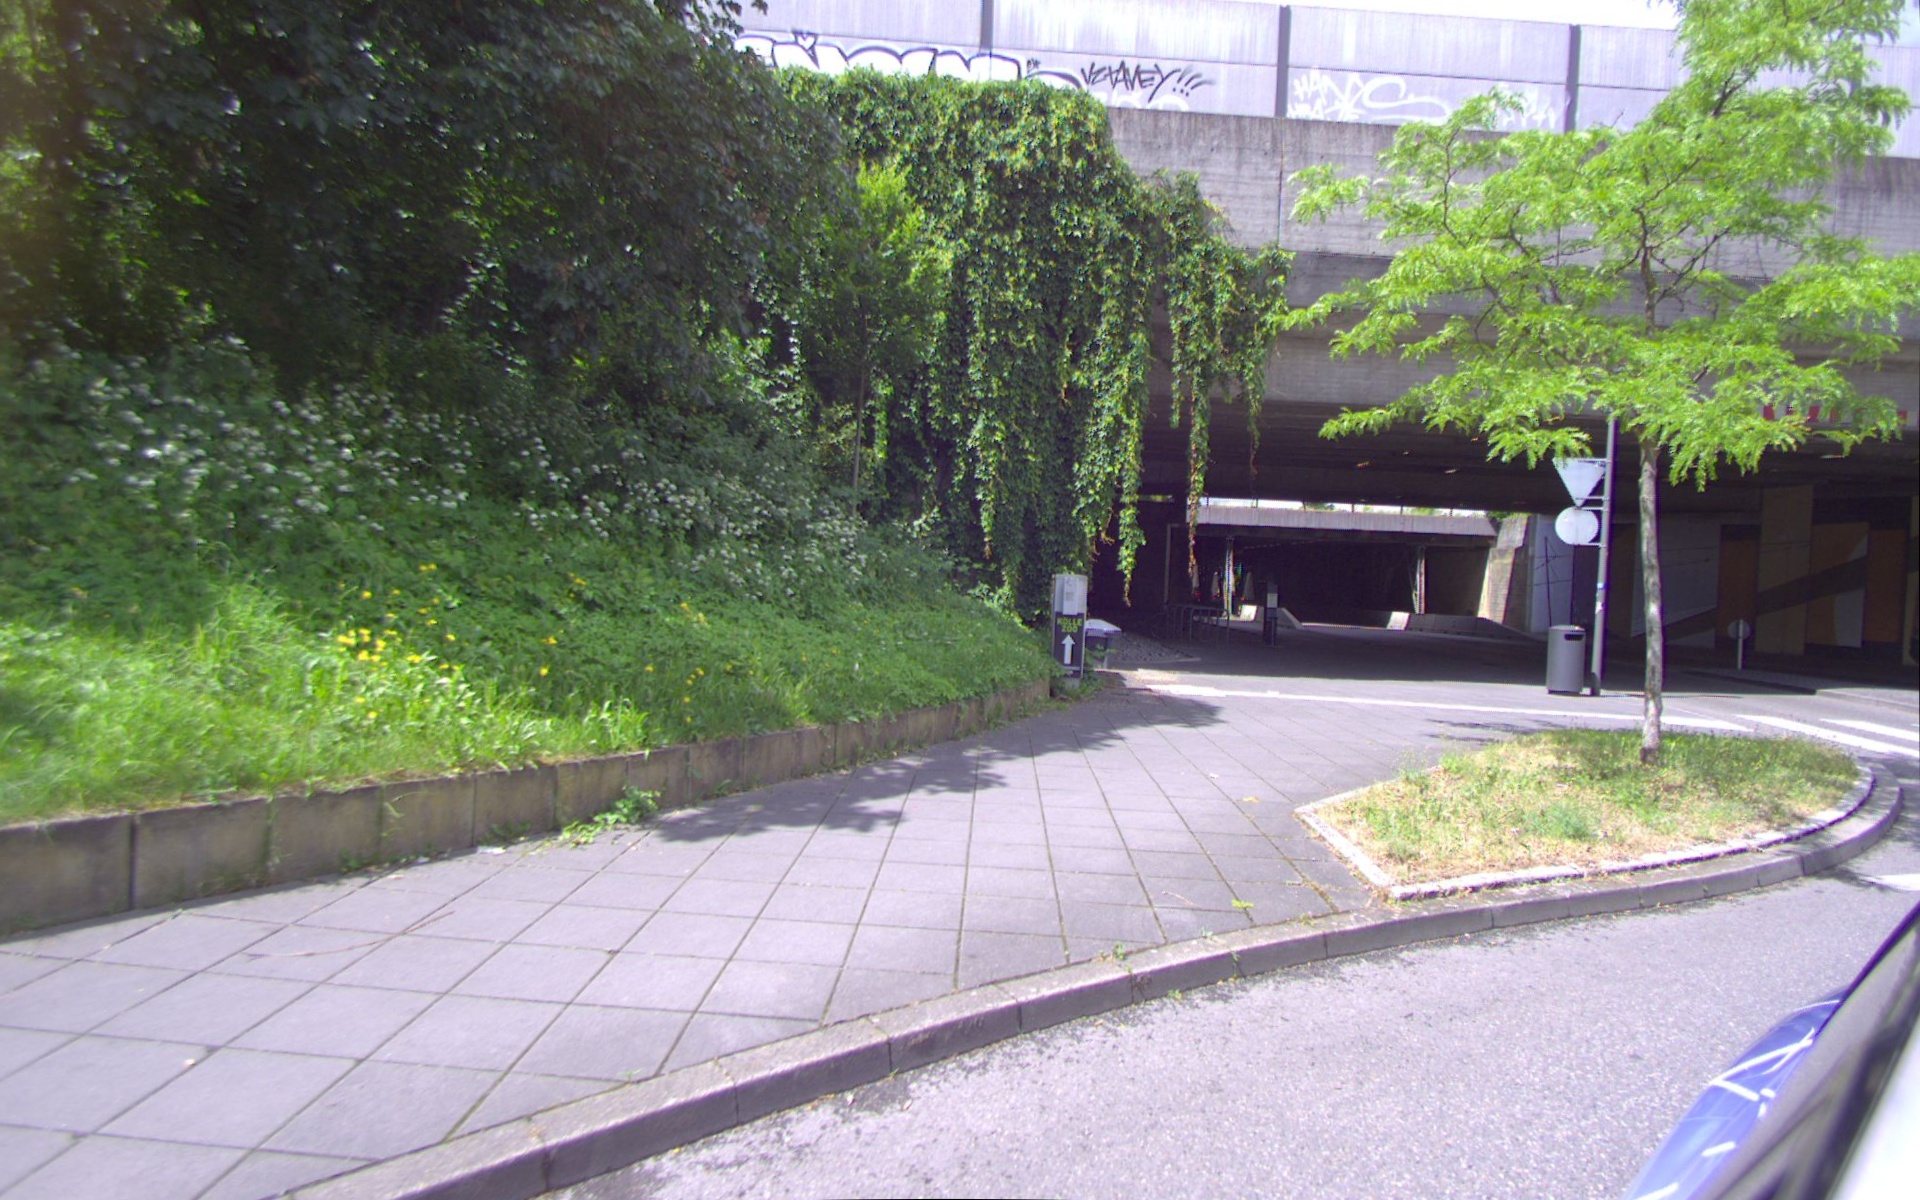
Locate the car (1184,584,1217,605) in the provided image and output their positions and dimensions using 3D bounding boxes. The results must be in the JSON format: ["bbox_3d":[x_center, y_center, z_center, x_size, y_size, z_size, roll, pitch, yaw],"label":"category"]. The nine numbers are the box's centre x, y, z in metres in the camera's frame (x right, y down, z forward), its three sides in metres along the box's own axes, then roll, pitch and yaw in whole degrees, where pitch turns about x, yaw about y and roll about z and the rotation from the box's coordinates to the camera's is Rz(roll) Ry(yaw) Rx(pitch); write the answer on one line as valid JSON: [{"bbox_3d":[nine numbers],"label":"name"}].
[{"bbox_3d":[20.496,-0.483,86.478,1.797,1.674,4.214,3,1,1],"label":"car"}]

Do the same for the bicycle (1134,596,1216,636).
[{"bbox_3d":[5.456,0.401,25.713,1.915,0.915,0.507,3,1,1],"label":"bicycle"}]

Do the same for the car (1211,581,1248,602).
[{"bbox_3d":[20.130,-0.632,75.782,1.645,1.465,3.852,3,1,0],"label":"car"}]
